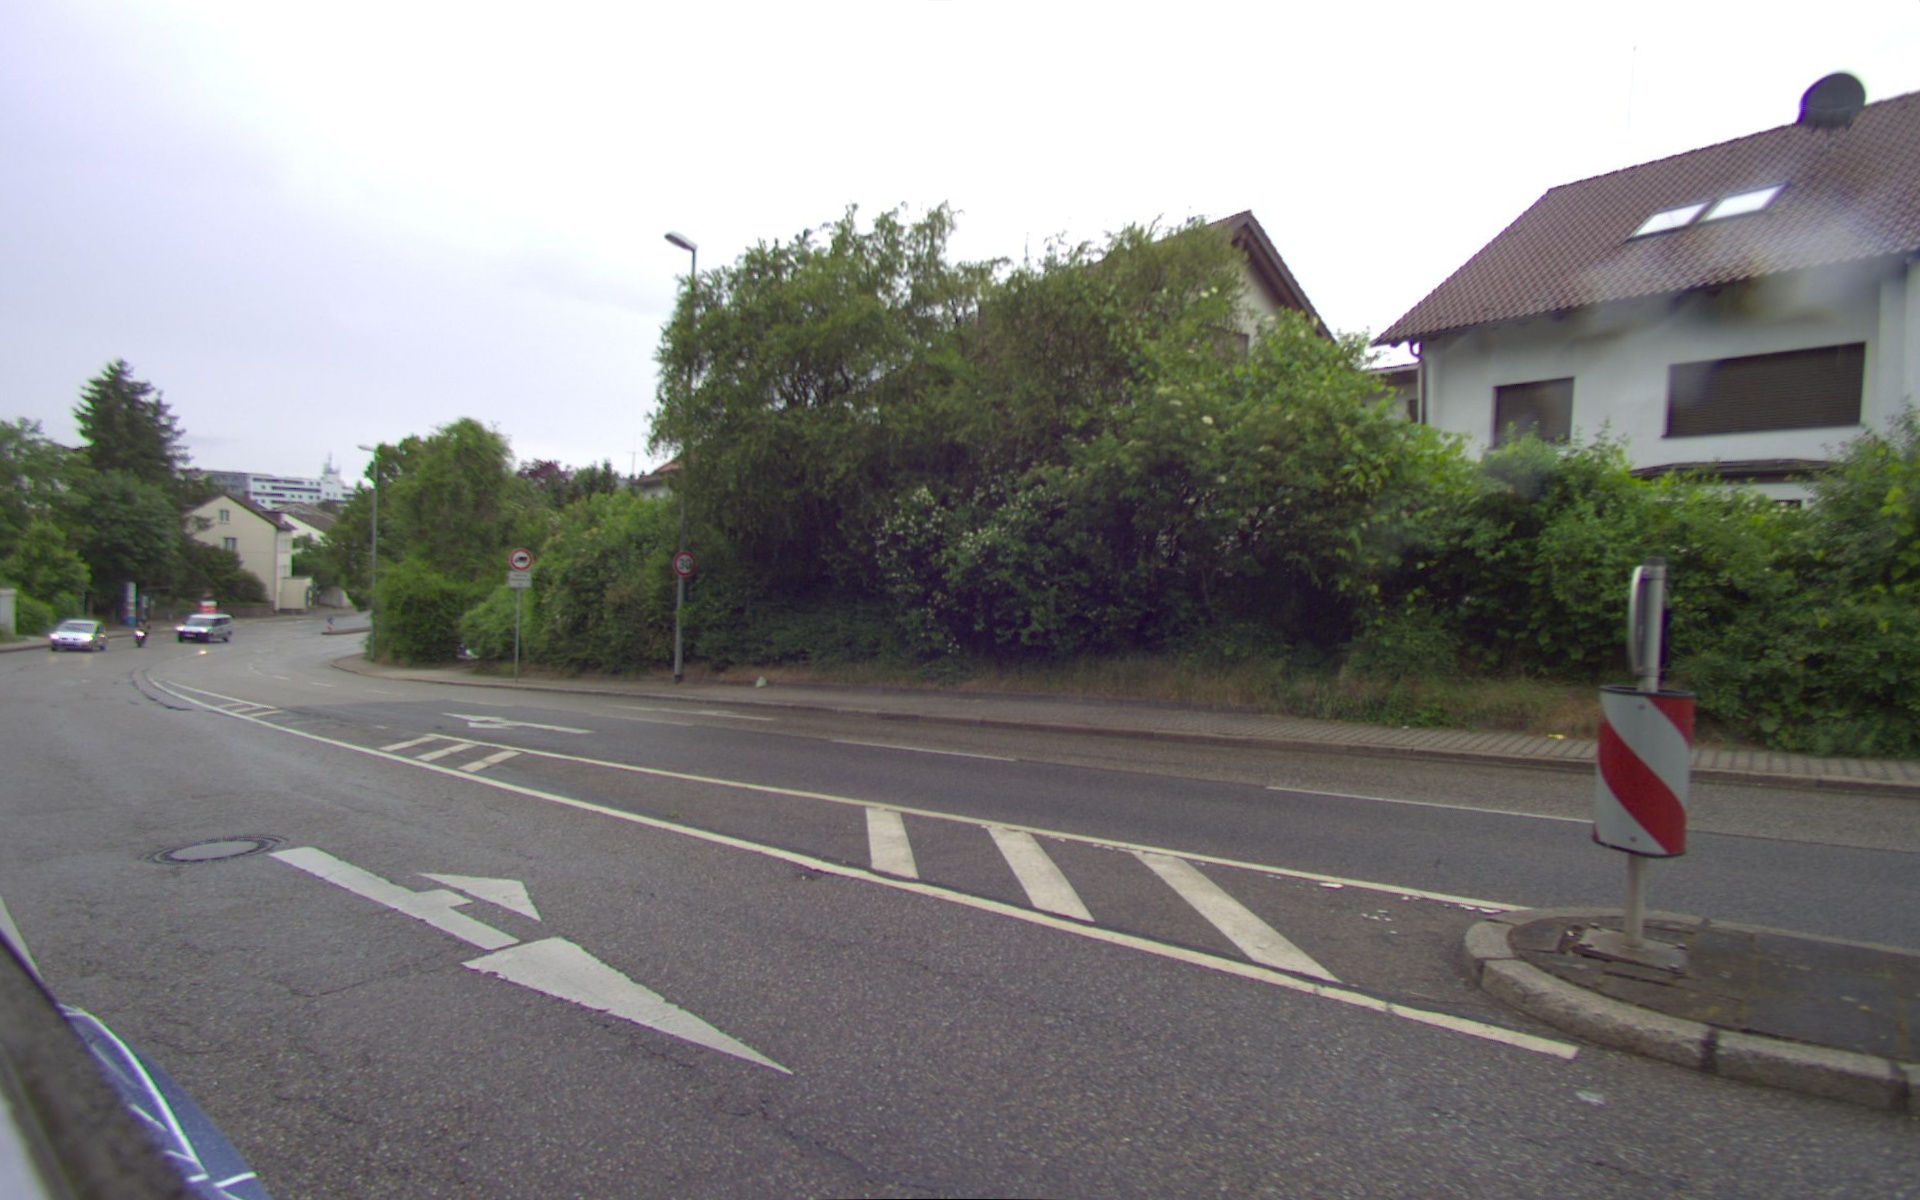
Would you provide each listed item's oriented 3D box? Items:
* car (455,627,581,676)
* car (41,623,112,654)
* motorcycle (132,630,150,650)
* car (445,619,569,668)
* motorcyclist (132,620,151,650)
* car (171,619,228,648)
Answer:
[{"bbox_3d":[-16.217,1.838,37.221,3.853,1.451,1.814,-4,1,-41],"label":"car"},{"bbox_3d":[-44.853,1.956,51.475,1.788,1.450,4.012,4,-4,-29],"label":"car"},{"bbox_3d":[-46.795,2.290,57.853,0.682,1.061,1.751,4,-3,-37],"label":"motorcycle"},{"bbox_3d":[-17.716,1.667,39.660,3.939,1.548,2.003,-4,1,-42],"label":"car"},{"bbox_3d":[-46.828,2.005,57.934,0.755,1.655,0.676,4,-3,-39],"label":"motorcyclist"},{"bbox_3d":[-50.572,2.223,67.372,1.748,1.788,4.012,4,-3,-18],"label":"car"}]
